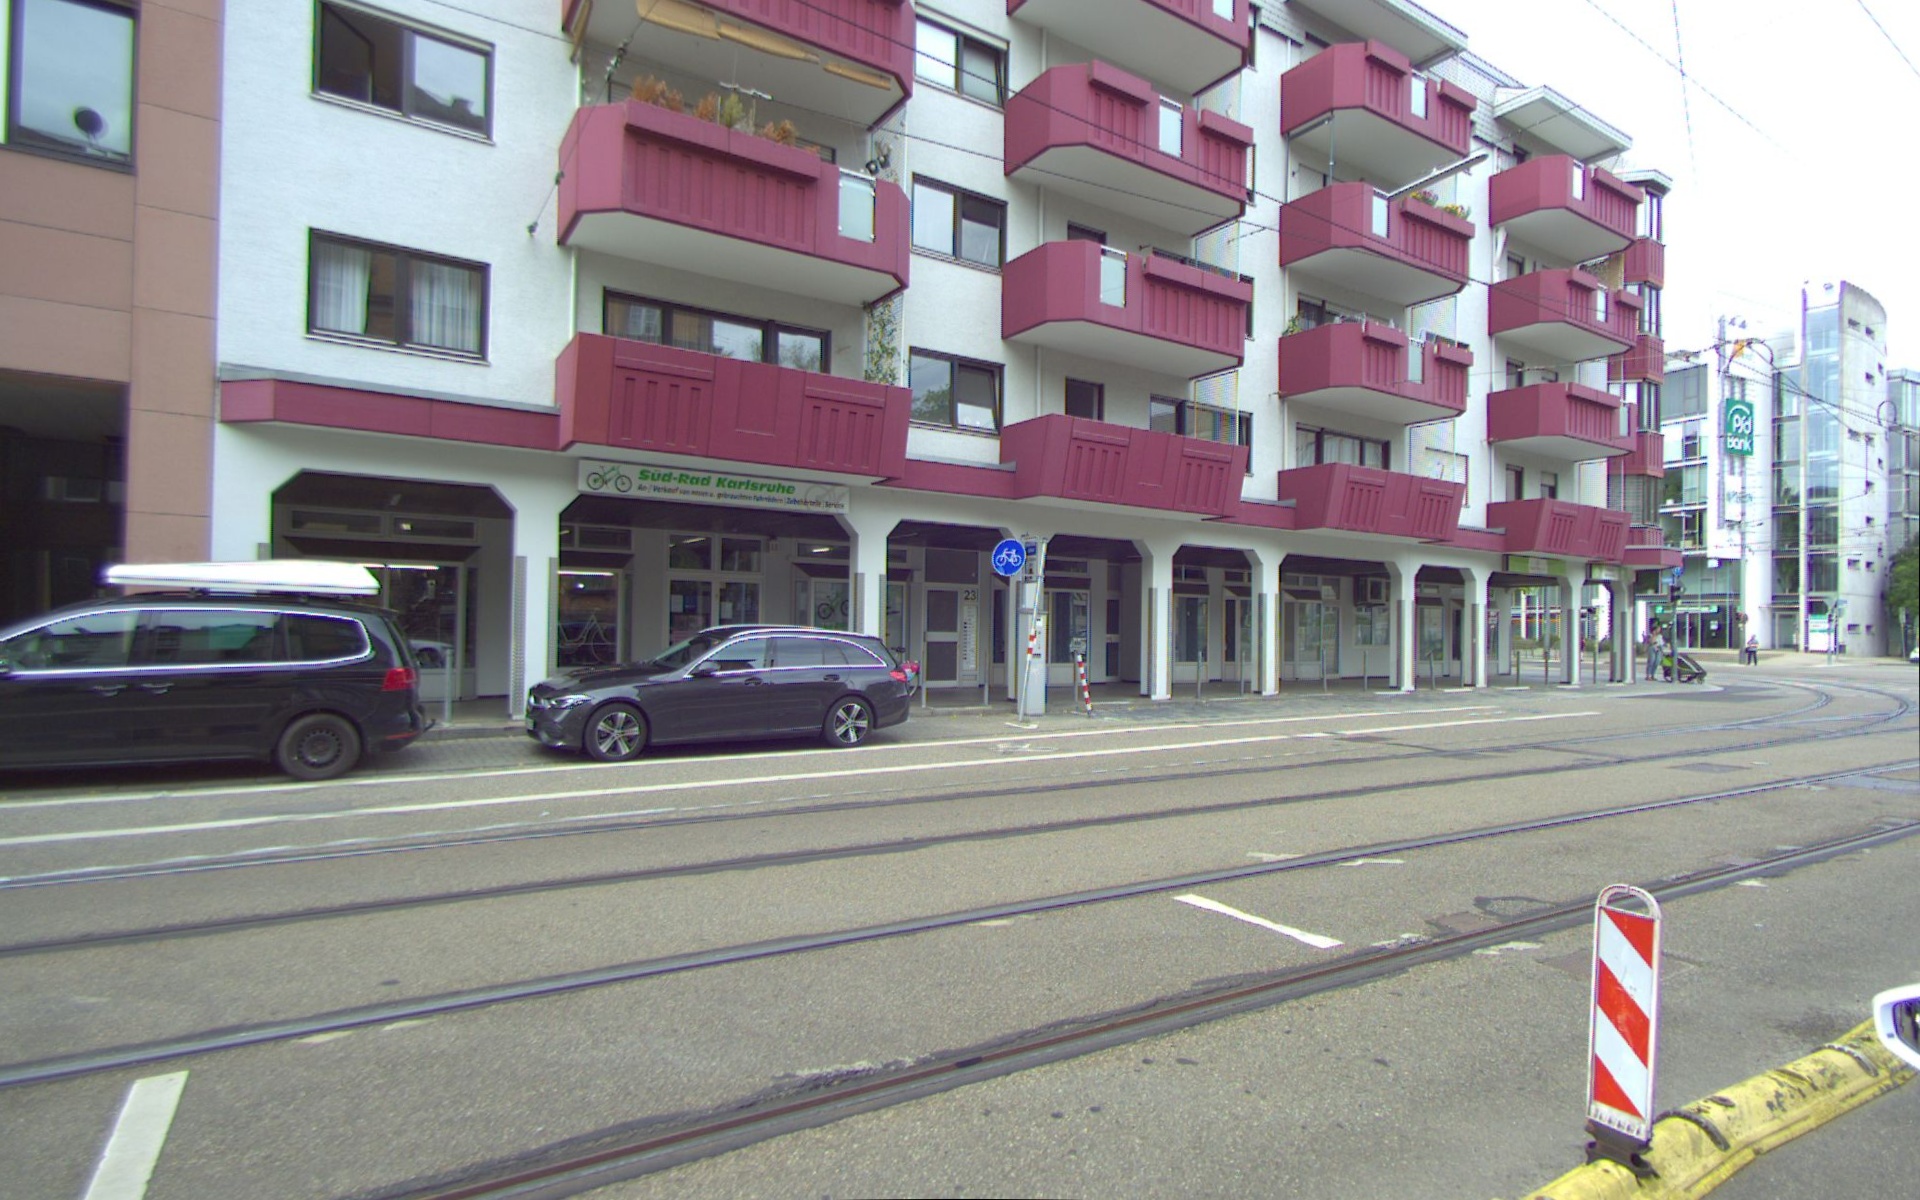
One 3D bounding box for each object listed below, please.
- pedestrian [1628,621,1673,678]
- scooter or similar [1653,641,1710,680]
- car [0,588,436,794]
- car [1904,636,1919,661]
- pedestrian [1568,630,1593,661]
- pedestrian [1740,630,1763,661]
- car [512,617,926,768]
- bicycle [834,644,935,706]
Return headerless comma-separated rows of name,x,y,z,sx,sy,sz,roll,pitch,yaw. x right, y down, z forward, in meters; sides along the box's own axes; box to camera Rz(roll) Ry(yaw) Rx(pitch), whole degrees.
pedestrian,21.936,1.555,31.918,0.804,1.766,0.941,2,-1,-34
scooter or similar,22.413,1.873,31.208,0.936,1.143,1.189,1,-1,-33
car,-7.655,0.768,9.506,4.646,1.669,1.796,2,0,-33
car,65.315,3.287,67.193,4.162,1.577,1.823,1,0,-27
pedestrian,34.495,2.541,55.858,0.754,1.693,0.934,1,-1,-18
pedestrian,47.727,2.737,60.552,0.754,1.889,0.833,1,-1,-18
car,-2.863,1.027,12.369,4.647,1.500,1.744,2,0,-33
bicycle,-1.237,1.223,16.665,1.636,0.966,0.559,2,-2,-39
